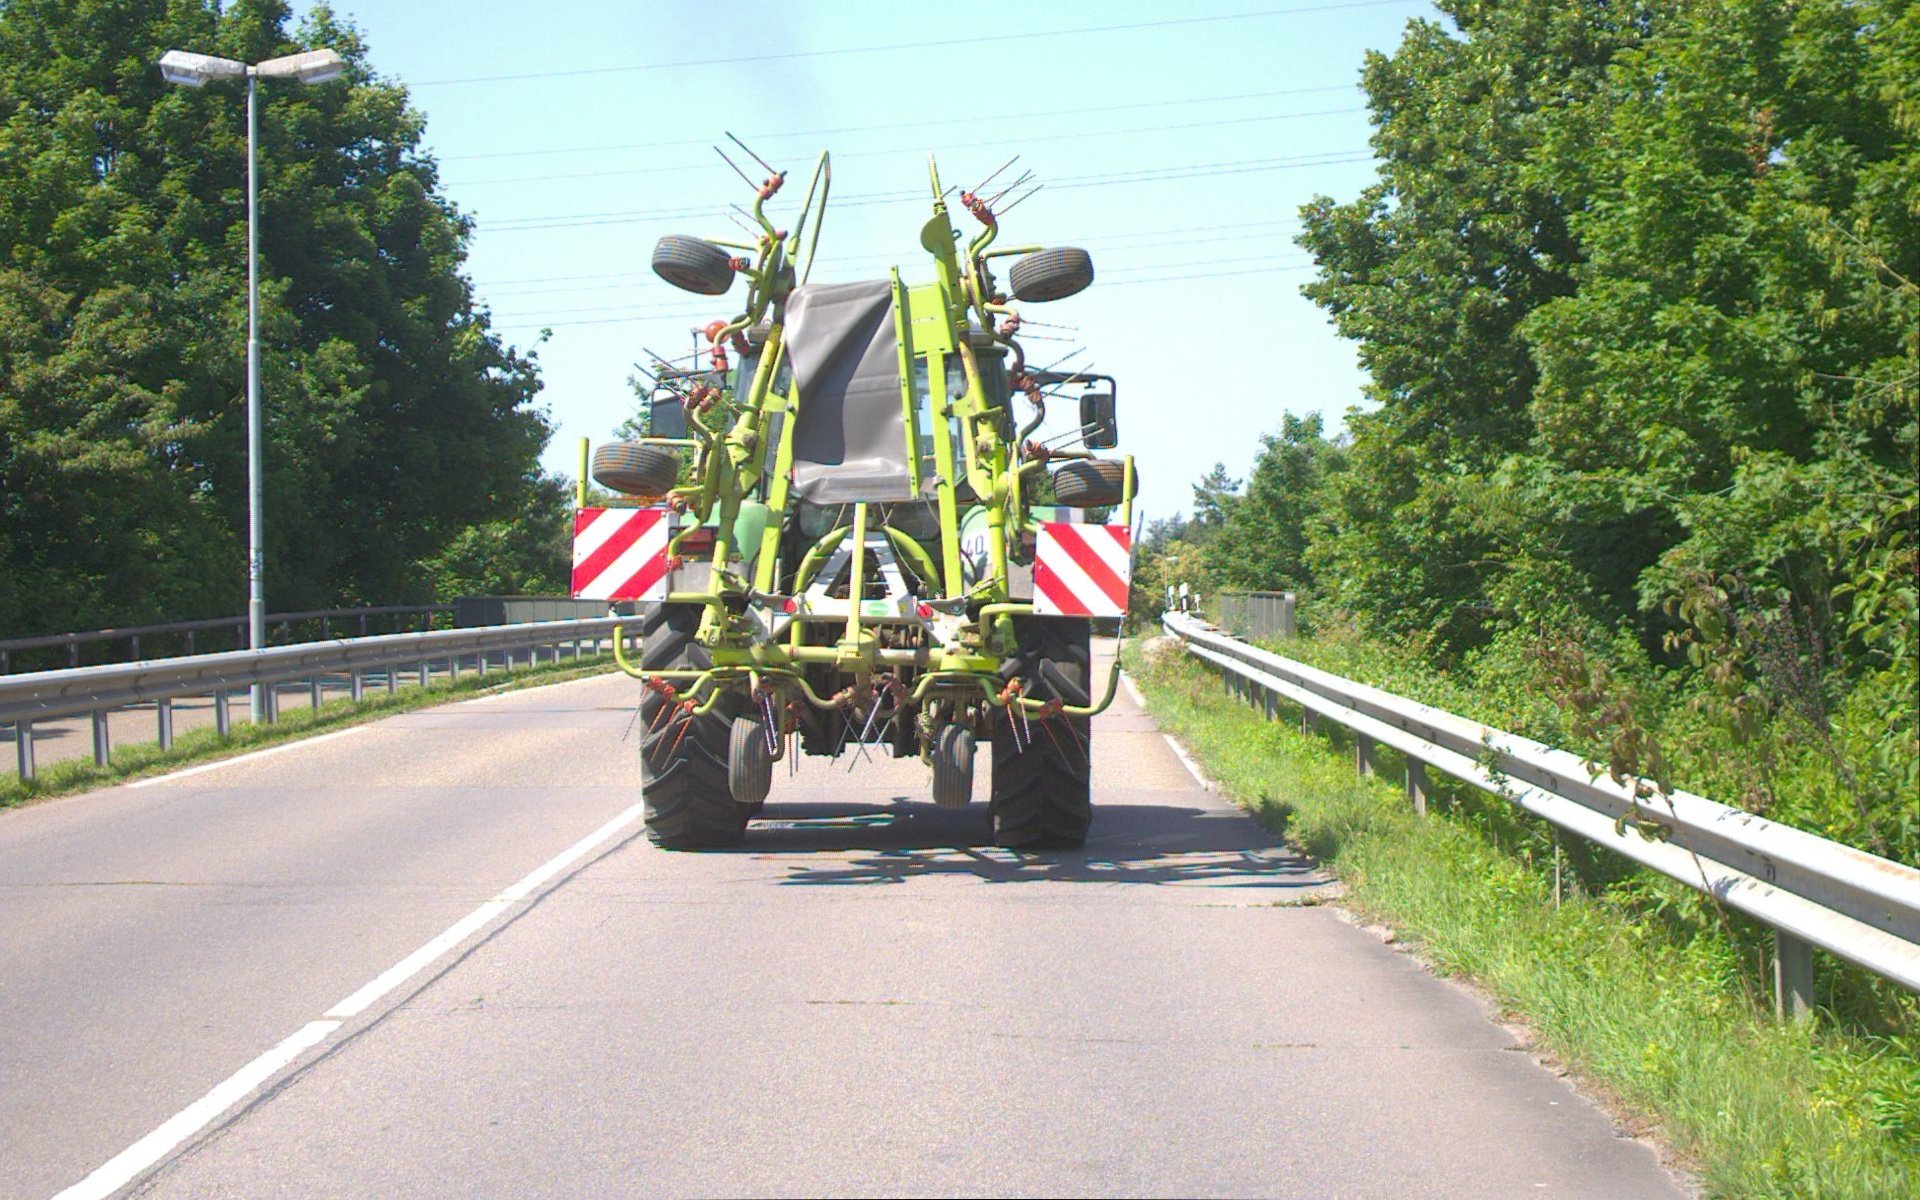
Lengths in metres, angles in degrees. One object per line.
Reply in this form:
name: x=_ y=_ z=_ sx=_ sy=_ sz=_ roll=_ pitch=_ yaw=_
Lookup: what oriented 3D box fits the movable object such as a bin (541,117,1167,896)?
movable object such as a bin: x=-0.469 y=-0.452 z=18.026 sx=2.755 sy=3.432 sz=5.670 roll=0 pitch=1 yaw=0
